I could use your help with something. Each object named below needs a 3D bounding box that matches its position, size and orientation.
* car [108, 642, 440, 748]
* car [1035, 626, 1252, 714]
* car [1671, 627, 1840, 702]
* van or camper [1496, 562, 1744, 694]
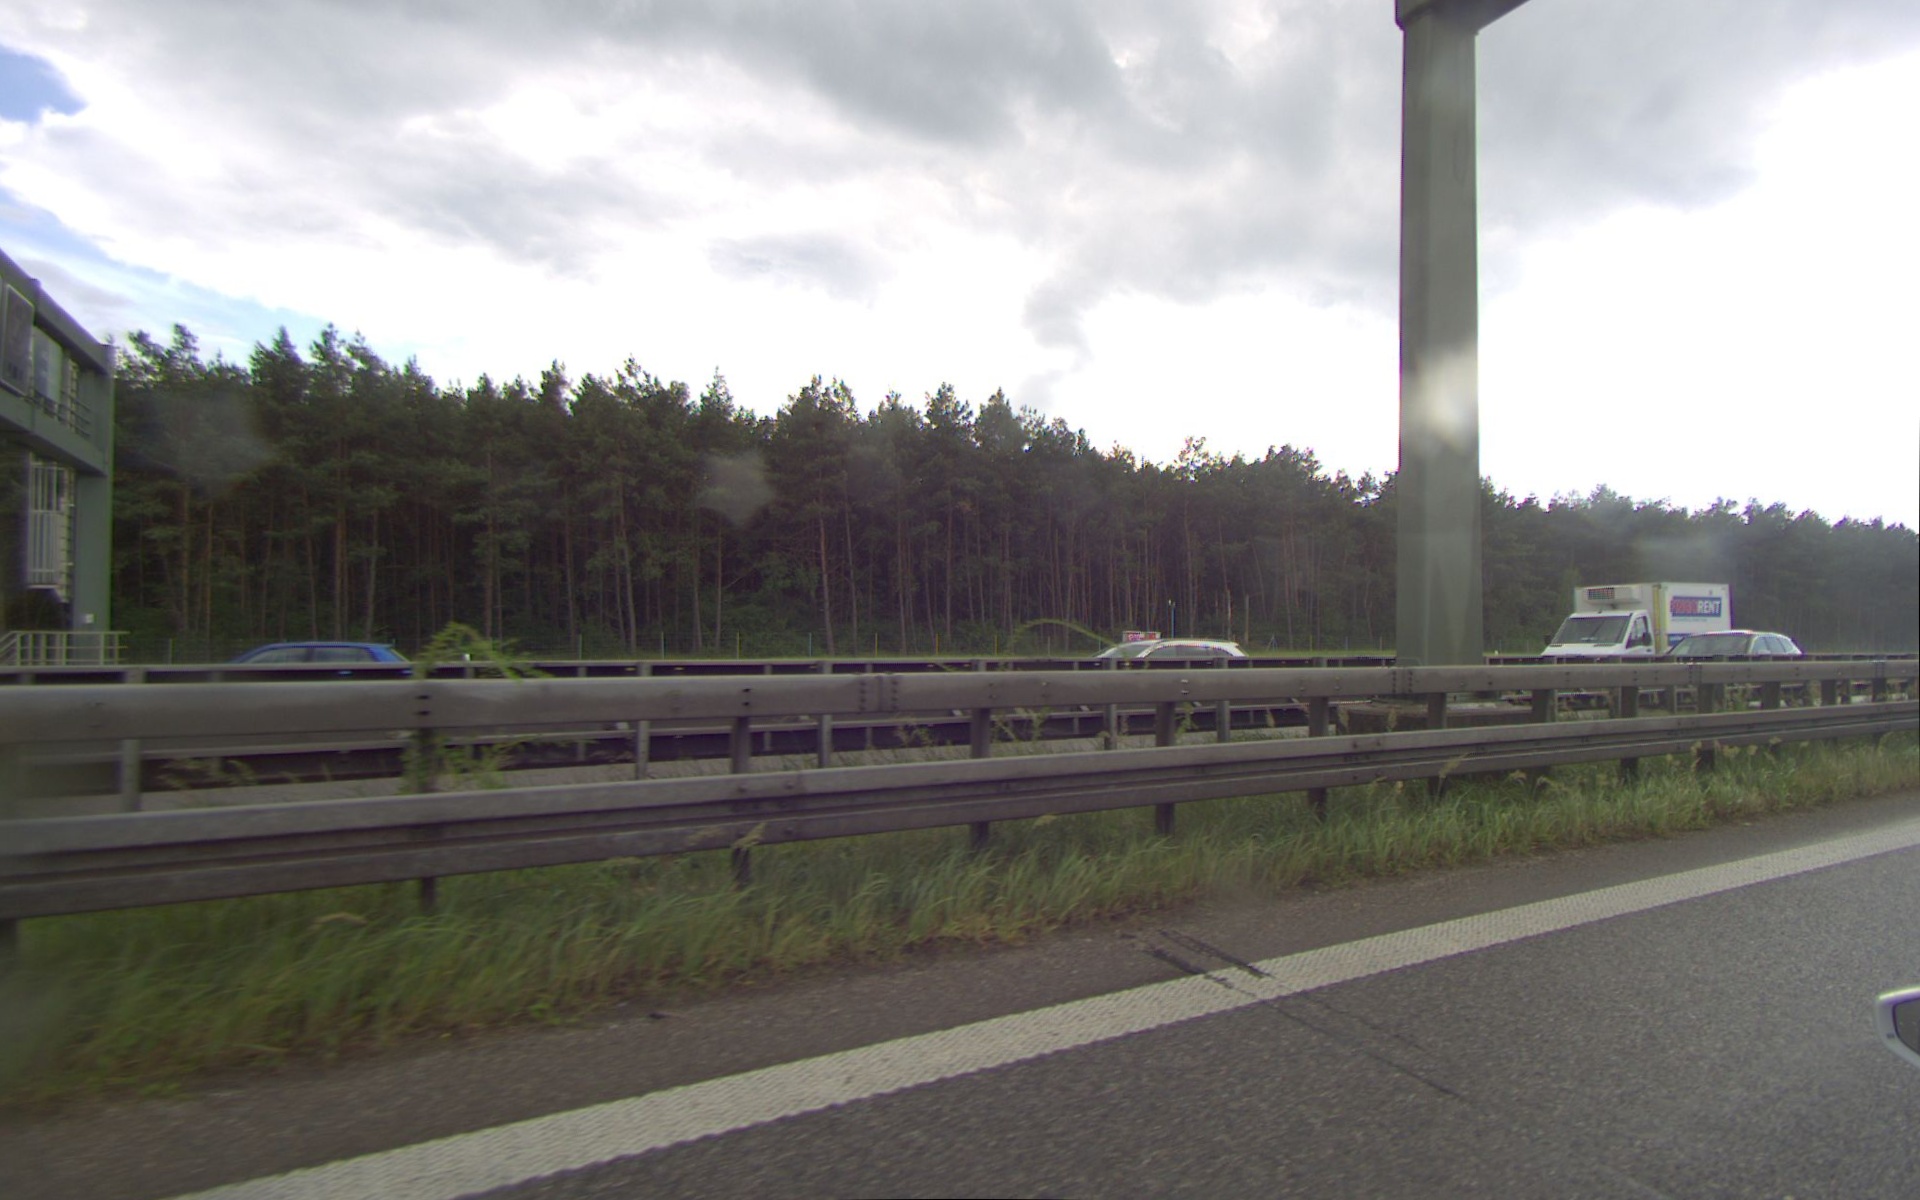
[{"bbox_3d":[-10.187,1.360,15.302,3.953,1.394,1.736,1,-2,-30],"label":"car"},{"bbox_3d":[3.244,1.172,17.632,3.659,1.394,1.489,1,-2,-29],"label":"car"},{"bbox_3d":[17.807,1.393,22.454,3.954,1.535,1.686,1,-2,-31],"label":"car"},{"bbox_3d":[17.752,0.773,26.879,7.448,3.154,2.292,1,-2,-28],"label":"van or camper"}]
